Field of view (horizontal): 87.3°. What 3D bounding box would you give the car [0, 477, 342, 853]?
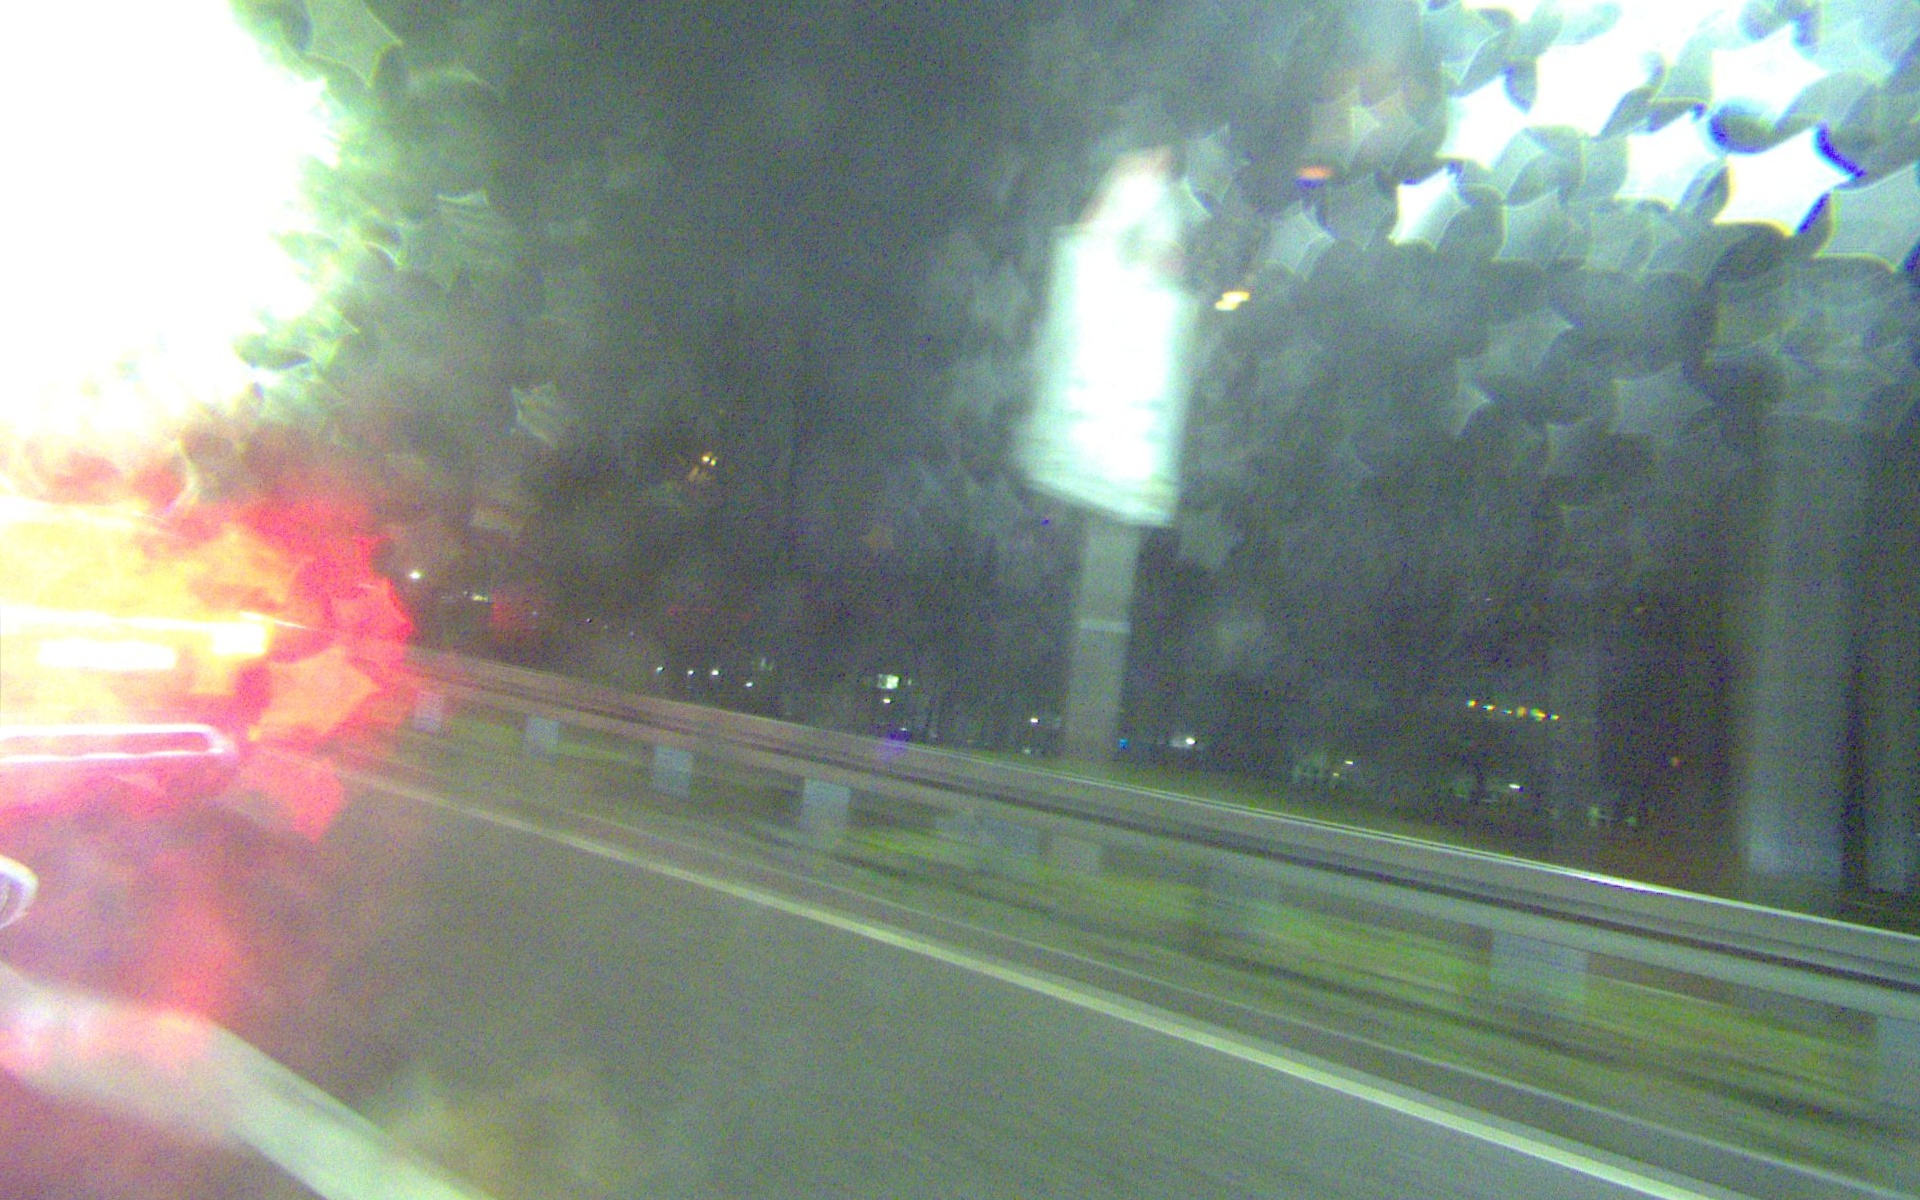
[{"bbox_3d":[-5.638,0.133,5.566,3.929,1.605,1.861,6,-1,26],"label":"car"}]
